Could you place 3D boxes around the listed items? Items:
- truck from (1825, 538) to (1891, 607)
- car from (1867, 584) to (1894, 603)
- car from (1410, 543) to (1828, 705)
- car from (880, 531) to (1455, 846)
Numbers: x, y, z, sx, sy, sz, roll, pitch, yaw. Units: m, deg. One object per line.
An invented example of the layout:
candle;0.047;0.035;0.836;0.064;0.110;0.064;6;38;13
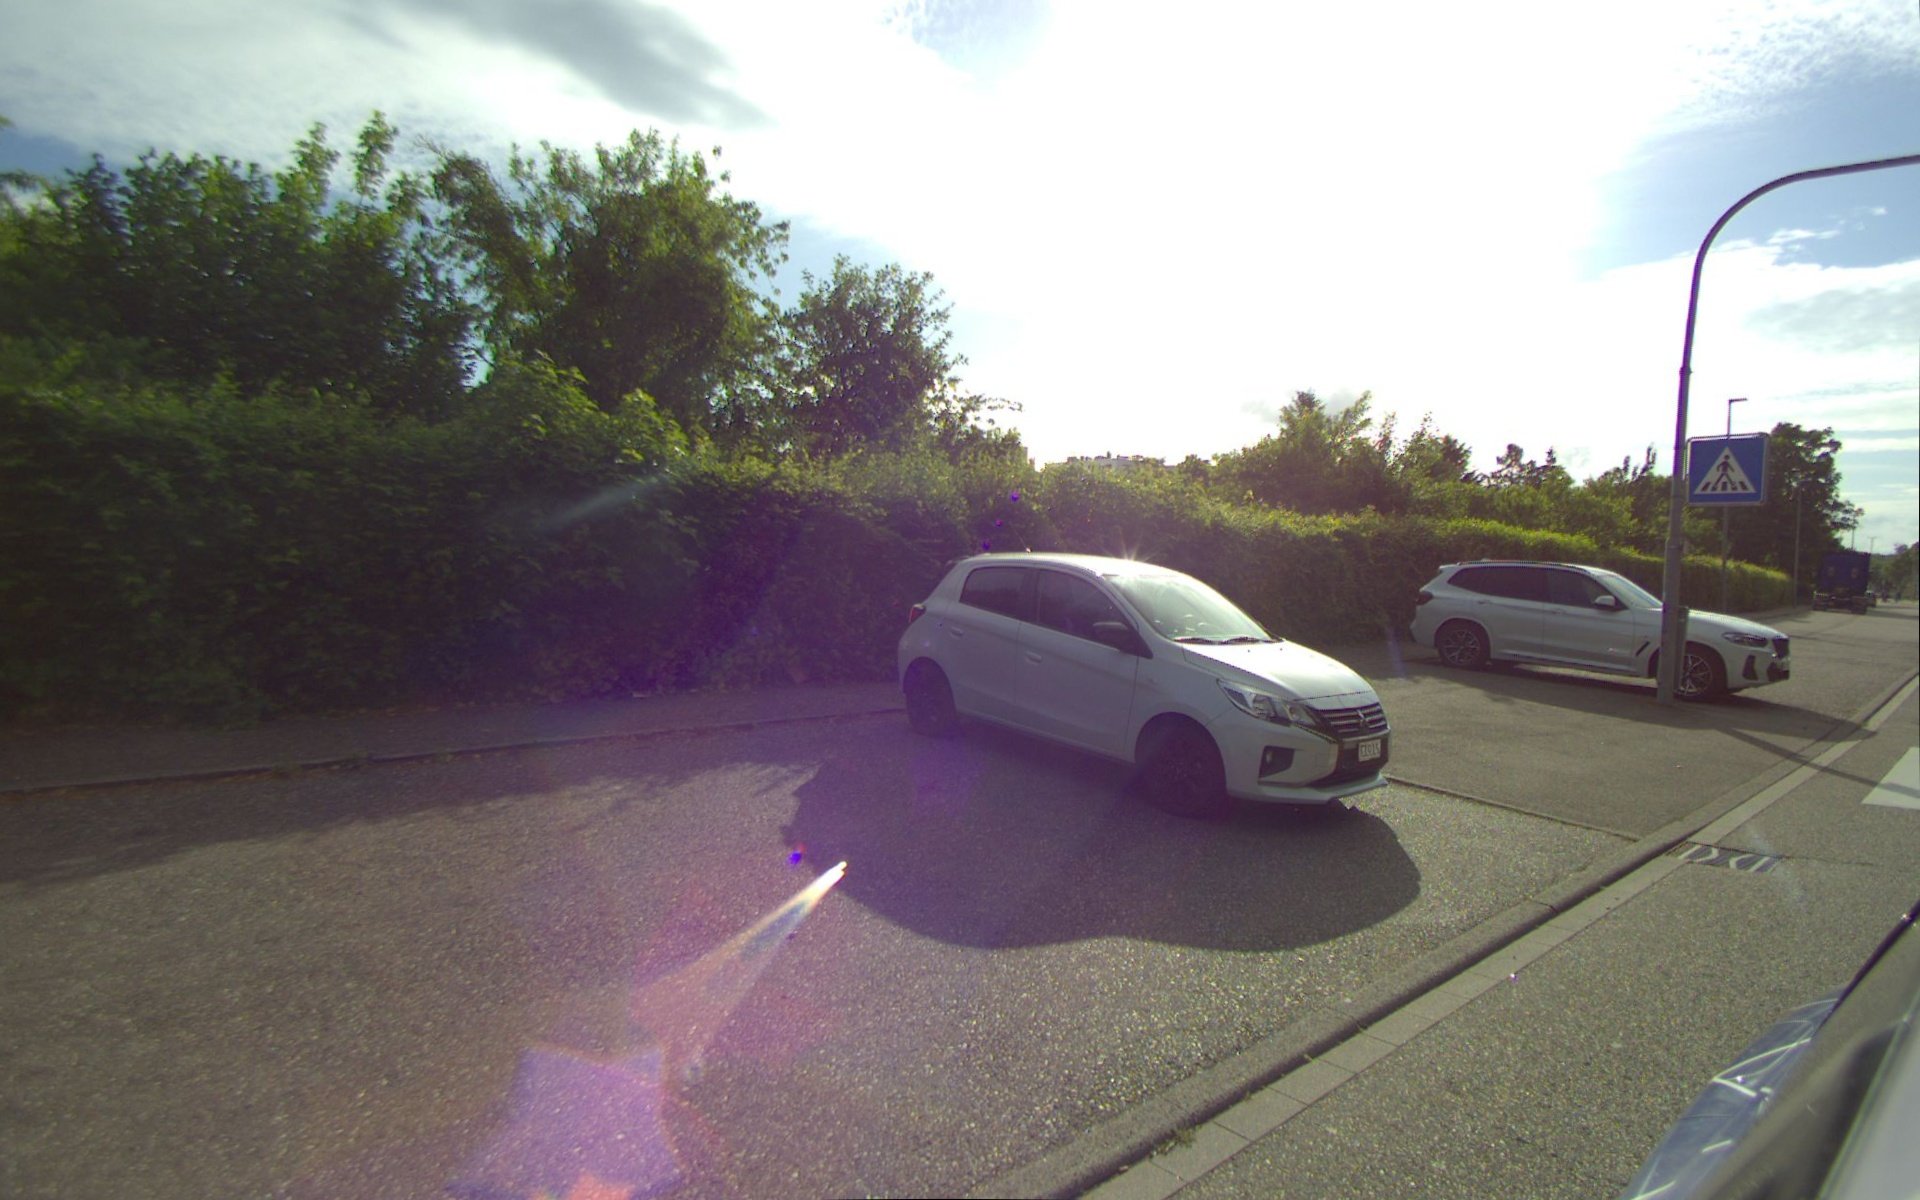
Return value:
truck;56.864;-1.710;64.196;2.595;4.004;6.191;8;5;40
car;88.256;-0.641;97.058;1.746;1.589;3.804;6;4;41
car;9.134;0.185;14.414;1.732;1.719;4.600;0;5;-40
car;1.258;0.378;7.447;1.663;1.507;3.867;0;6;-41
